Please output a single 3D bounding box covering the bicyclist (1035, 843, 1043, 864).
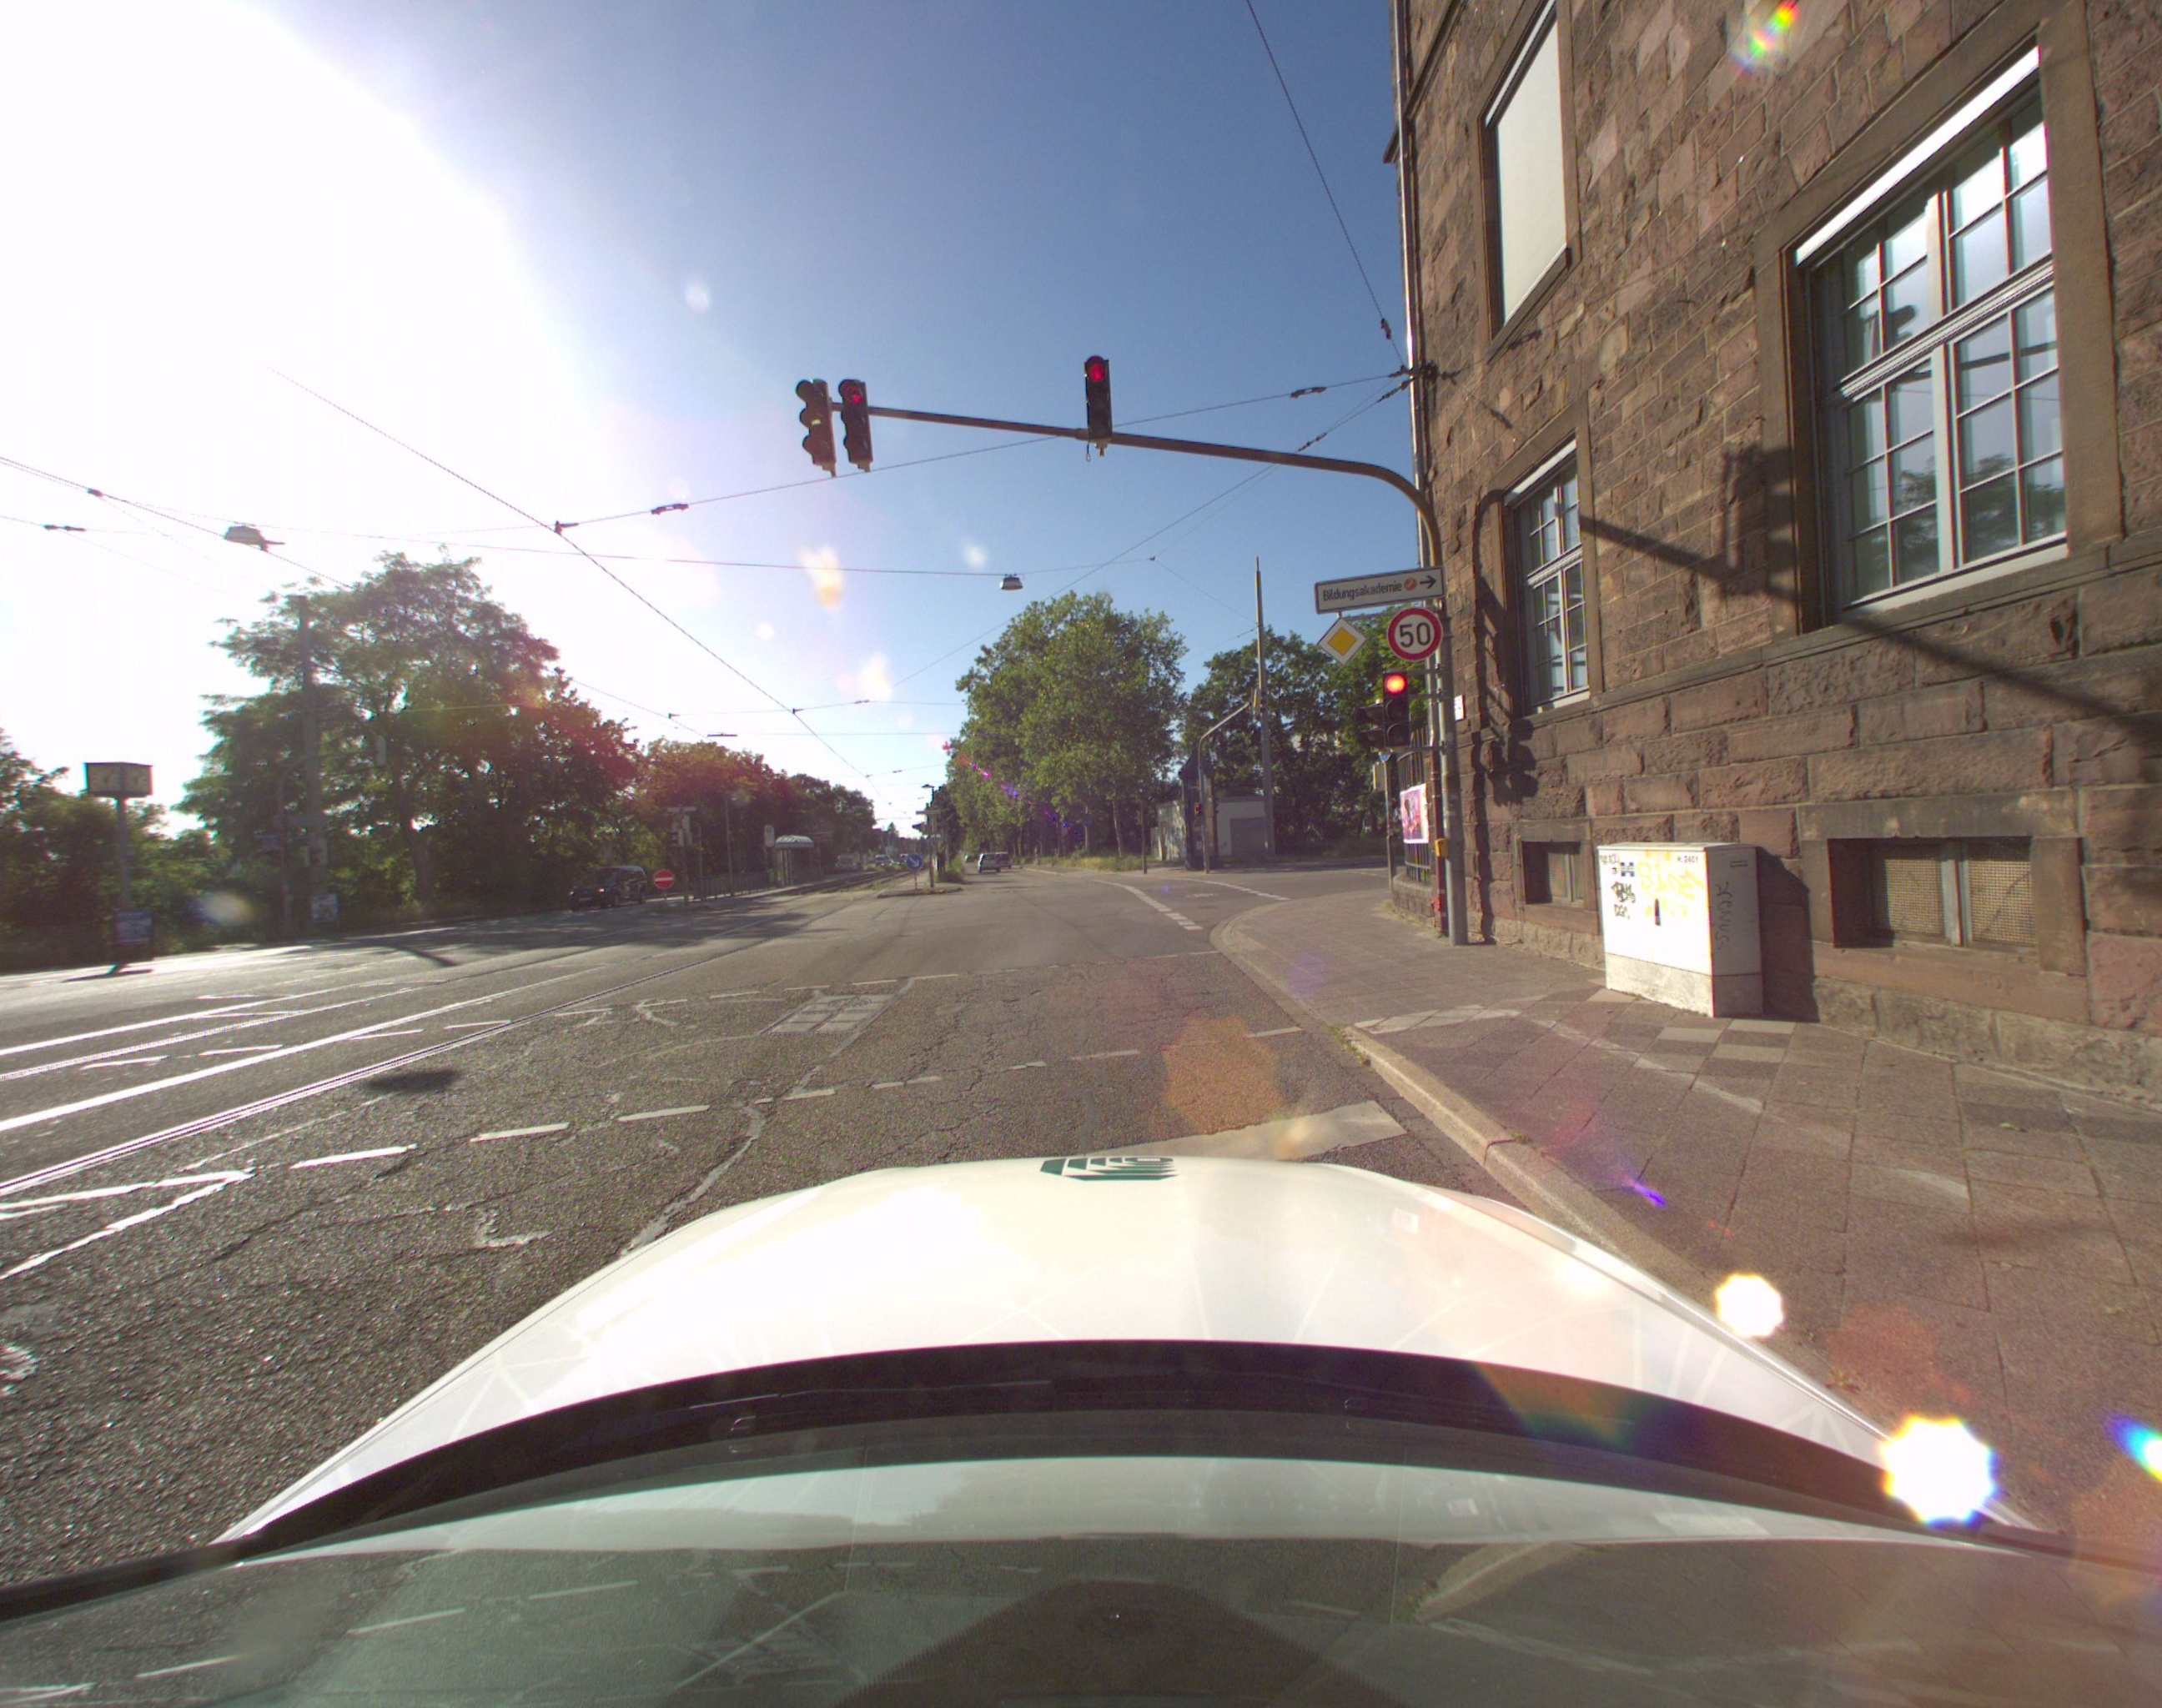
[{"bbox_3d":[-3.632,-0.026,70.830,0.534,1.769,0.710,-4,0,-11],"label":"bicyclist"}]

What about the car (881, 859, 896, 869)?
[{"bbox_3d":[-33.287,1.759,140.664,1.919,1.567,3.991,-4,0,-7],"label":"car"}]

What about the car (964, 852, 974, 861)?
[{"bbox_3d":[-22.701,0.506,164.612,1.750,1.604,3.569,-4,1,-9],"label":"car"}]

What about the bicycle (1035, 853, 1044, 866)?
[{"bbox_3d":[-3.604,0.483,70.758,0.536,1.066,1.428,-4,0,-10],"label":"bicycle"}]

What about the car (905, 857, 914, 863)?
[{"bbox_3d":[-42.656,1.471,202.233,1.994,1.469,4.361,-3,0,-10],"label":"car"}]

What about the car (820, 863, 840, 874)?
[{"bbox_3d":[-34.400,1.961,111.652,1.919,1.266,3.991,-4,0,-7],"label":"car"}]

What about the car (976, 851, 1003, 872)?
[{"bbox_3d":[-6.947,0.554,61.402,1.867,1.486,3.545,-3,0,-8],"label":"car"}]

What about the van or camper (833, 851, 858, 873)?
[{"bbox_3d":[-35.846,1.244,124.226,2.589,3.106,6.768,-4,0,-9],"label":"van or camper"}]

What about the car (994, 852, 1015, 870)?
[{"bbox_3d":[-7.142,0.602,76.170,1.750,1.604,3.739,-1,0,-9],"label":"car"}]

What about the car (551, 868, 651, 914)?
[{"bbox_3d":[-20.851,1.539,35.650,1.994,1.767,5.014,-4,0,-9],"label":"car"}]
